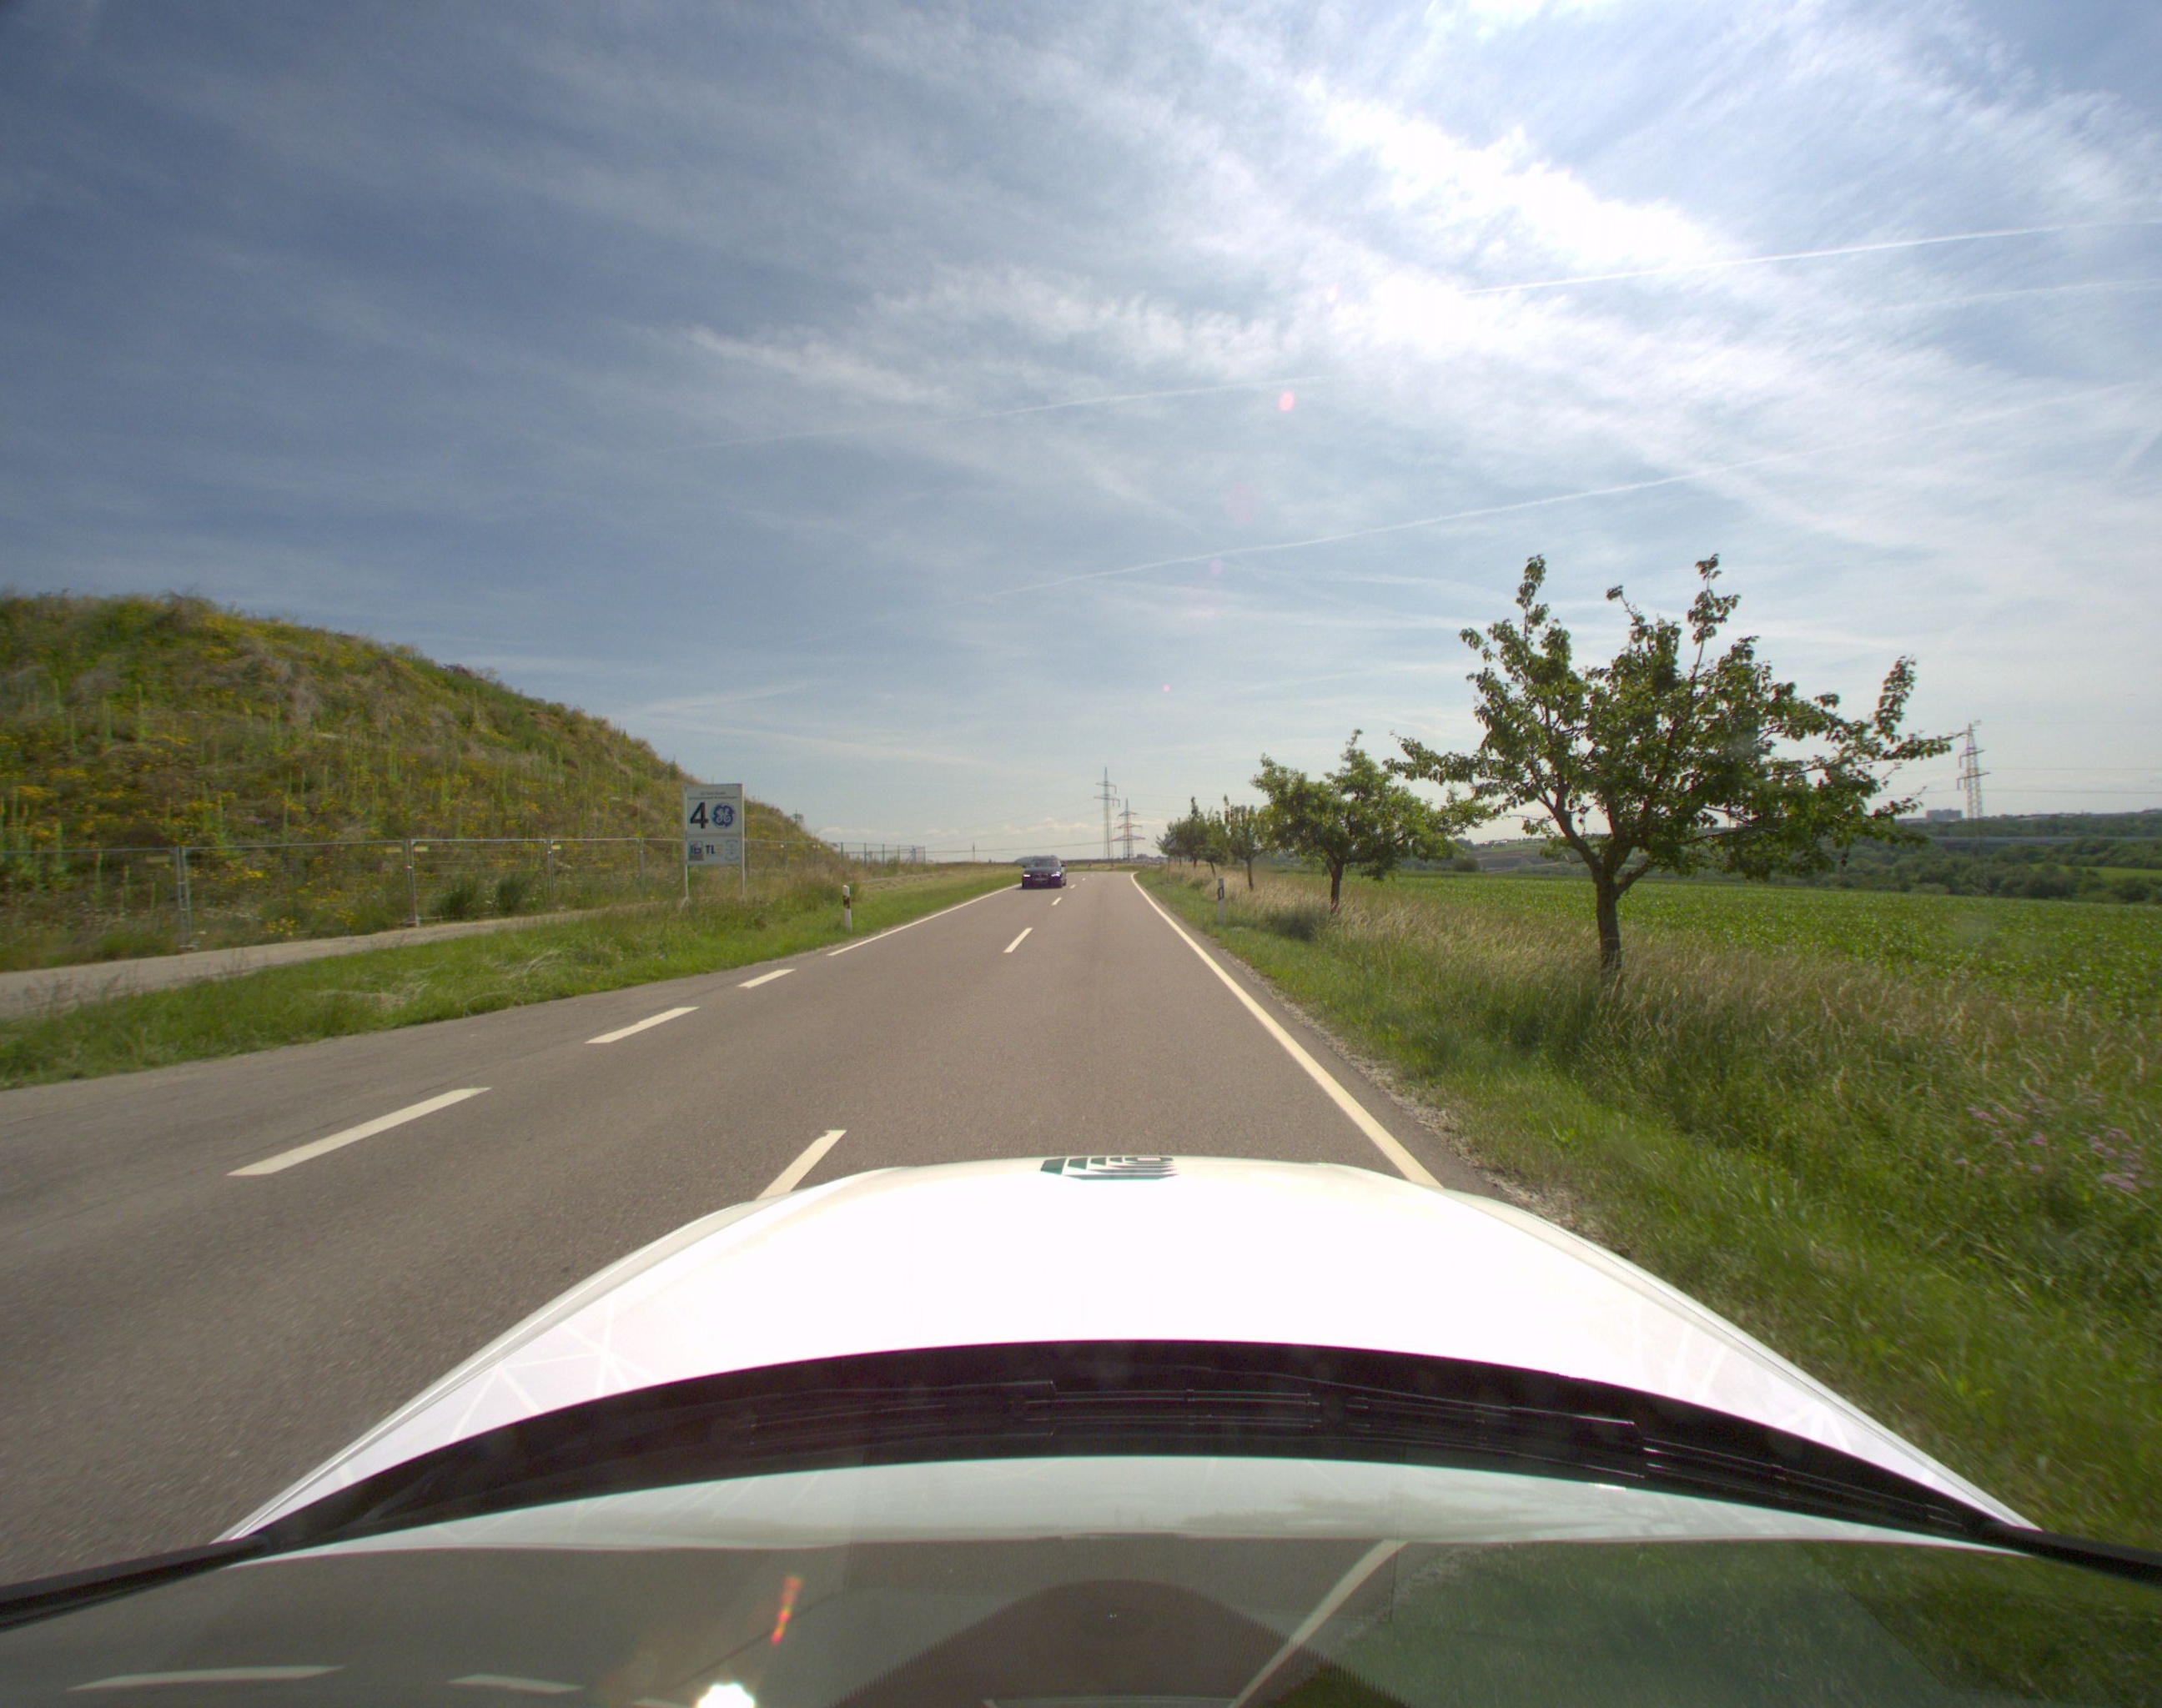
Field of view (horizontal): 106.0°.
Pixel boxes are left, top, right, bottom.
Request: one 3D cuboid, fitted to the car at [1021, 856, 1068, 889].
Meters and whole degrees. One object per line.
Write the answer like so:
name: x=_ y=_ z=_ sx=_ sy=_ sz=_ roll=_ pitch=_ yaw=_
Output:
car: x=-1.648 y=0.822 z=38.019 sx=1.816 sy=1.410 sz=4.002 roll=-1 pitch=0 yaw=2
